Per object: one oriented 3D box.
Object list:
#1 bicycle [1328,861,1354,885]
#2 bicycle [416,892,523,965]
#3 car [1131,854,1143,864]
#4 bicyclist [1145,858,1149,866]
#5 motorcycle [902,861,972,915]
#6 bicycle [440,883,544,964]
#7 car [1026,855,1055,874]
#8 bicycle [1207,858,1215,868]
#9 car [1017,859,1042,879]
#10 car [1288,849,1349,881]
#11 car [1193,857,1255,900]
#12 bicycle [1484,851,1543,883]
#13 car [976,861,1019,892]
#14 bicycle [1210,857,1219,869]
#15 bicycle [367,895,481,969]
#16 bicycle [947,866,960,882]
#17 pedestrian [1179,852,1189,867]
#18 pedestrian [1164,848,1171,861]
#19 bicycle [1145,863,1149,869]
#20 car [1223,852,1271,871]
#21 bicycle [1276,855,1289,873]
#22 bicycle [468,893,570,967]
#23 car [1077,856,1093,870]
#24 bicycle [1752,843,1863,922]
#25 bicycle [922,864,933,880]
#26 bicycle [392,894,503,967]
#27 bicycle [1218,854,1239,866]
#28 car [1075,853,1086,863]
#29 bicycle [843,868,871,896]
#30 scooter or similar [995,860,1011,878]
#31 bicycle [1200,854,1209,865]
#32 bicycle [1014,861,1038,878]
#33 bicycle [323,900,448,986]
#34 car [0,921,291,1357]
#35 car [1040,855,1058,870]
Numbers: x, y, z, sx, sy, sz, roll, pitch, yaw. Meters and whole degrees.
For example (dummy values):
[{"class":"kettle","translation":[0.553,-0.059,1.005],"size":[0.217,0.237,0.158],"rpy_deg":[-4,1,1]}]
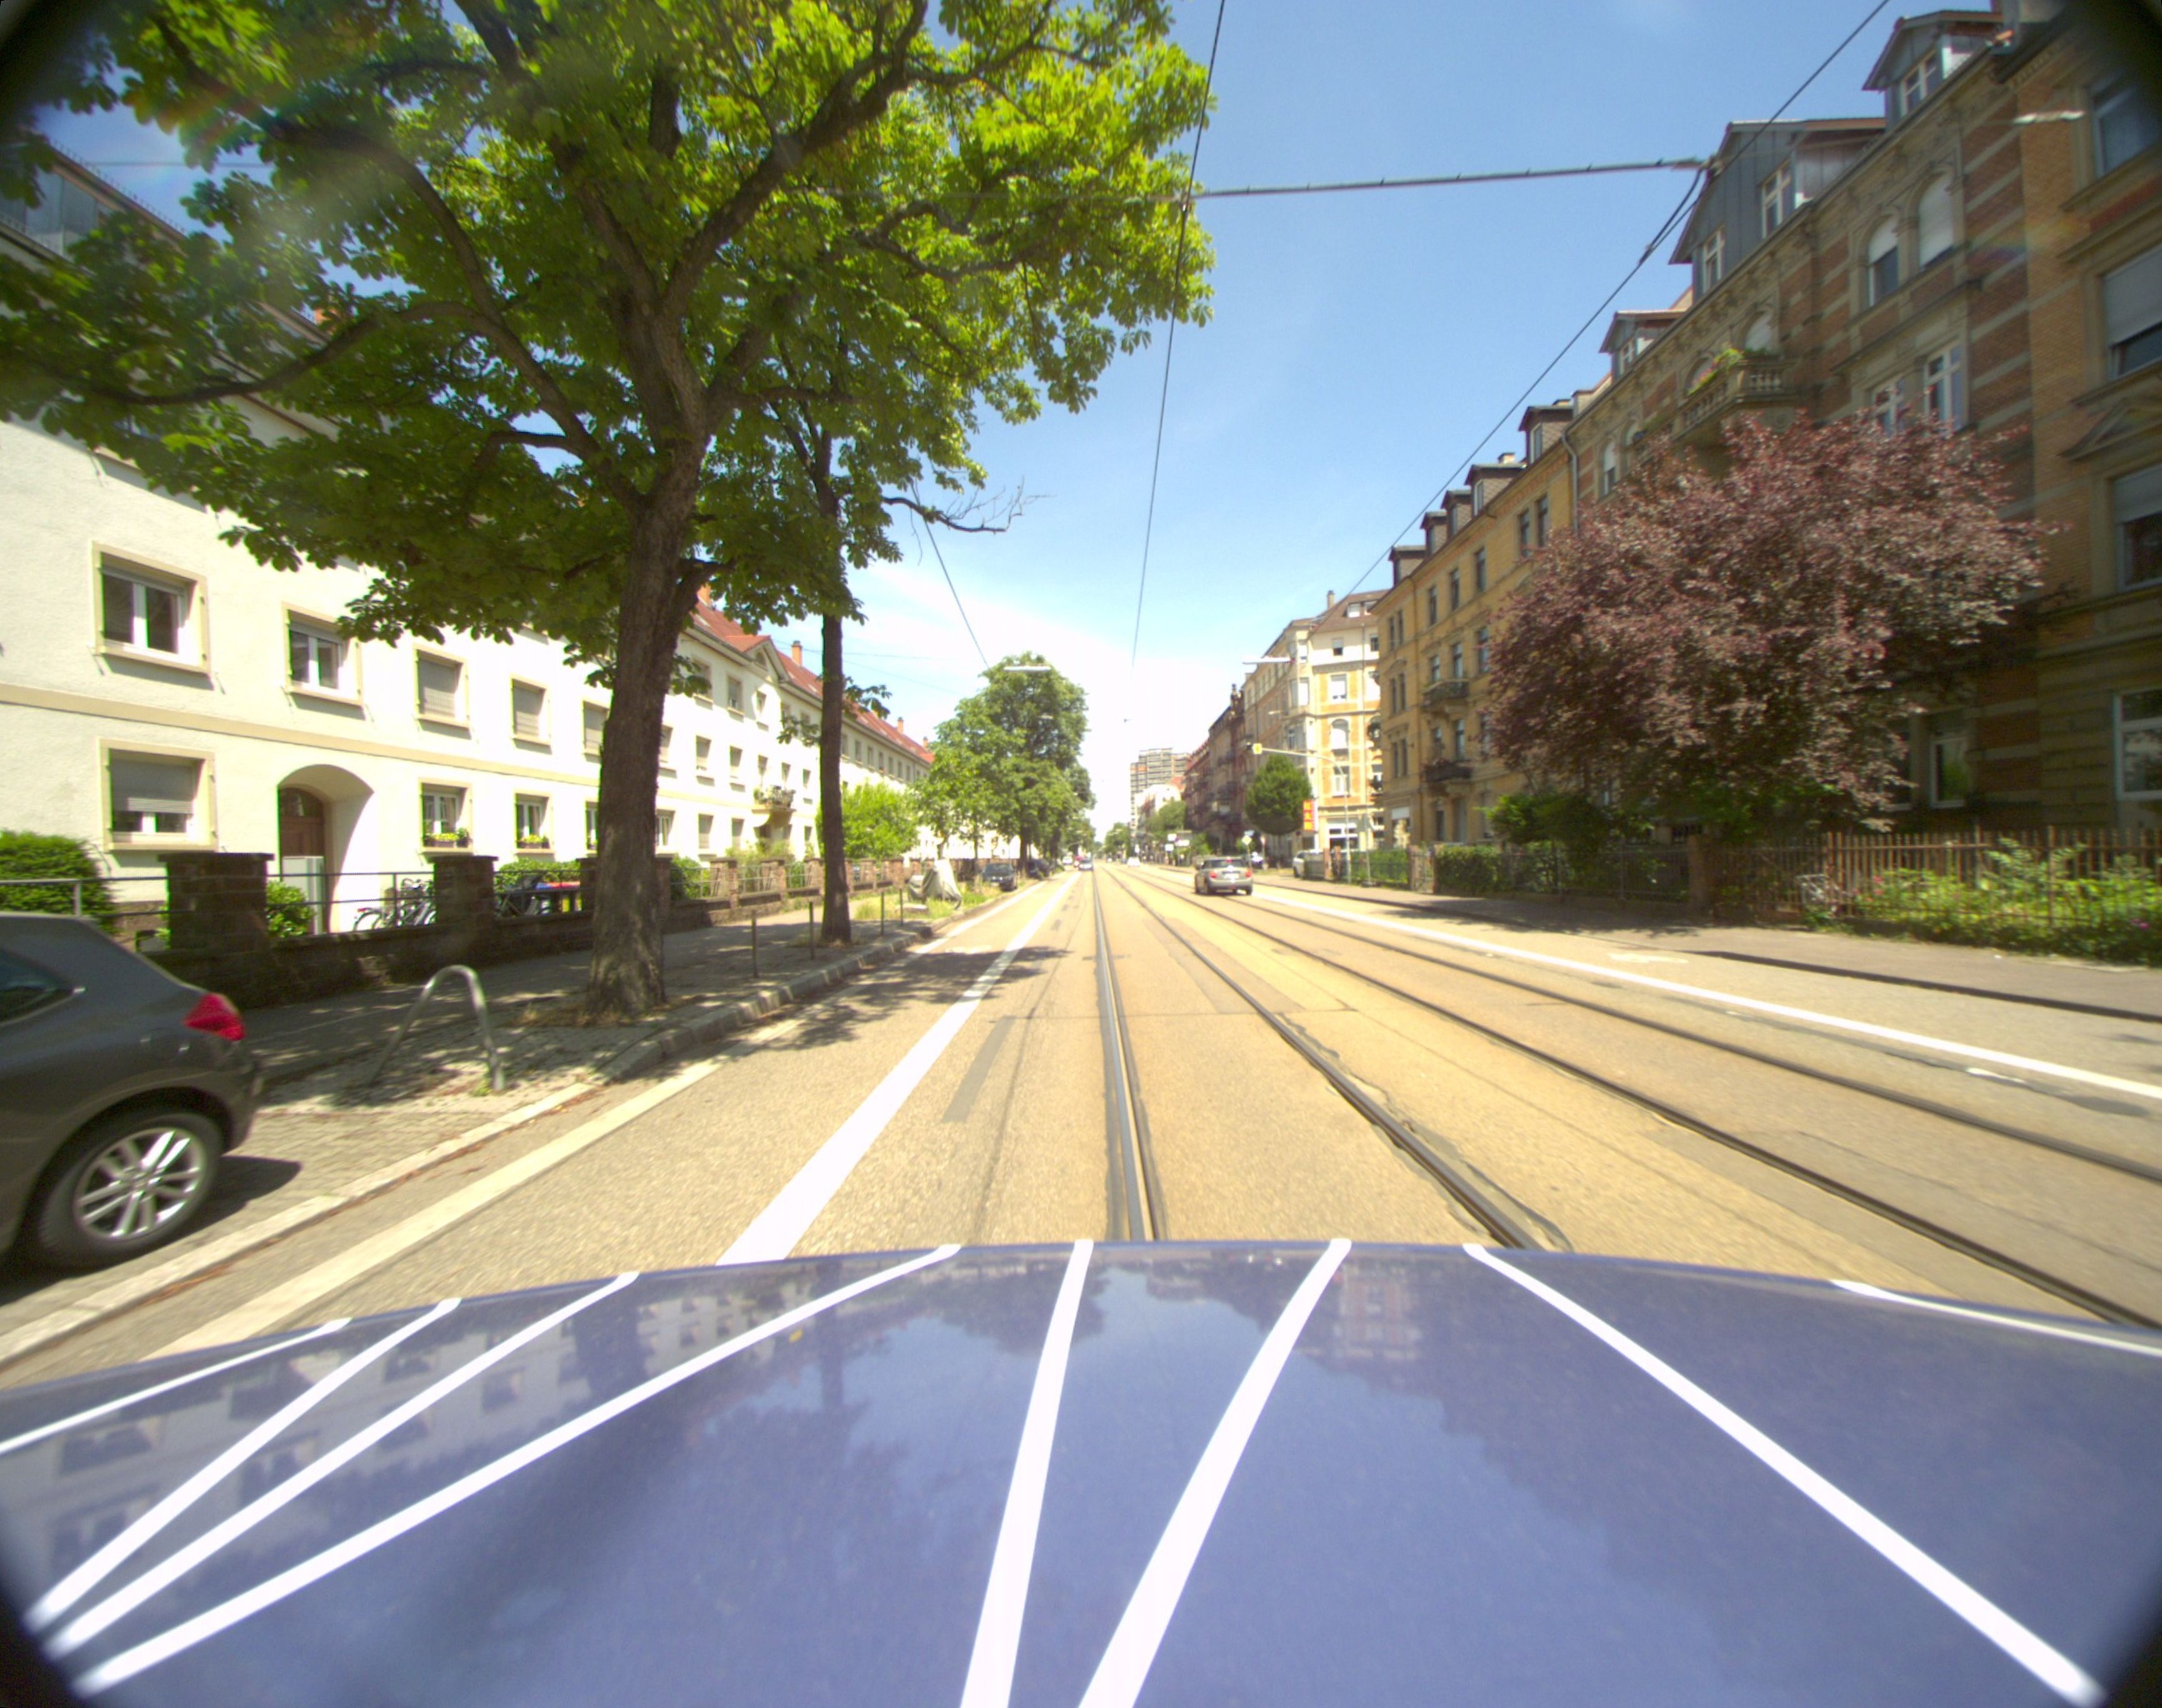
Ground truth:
[{"class":"bicycle","translation":[11.607,0.844,33.996],"size":[0.455,0.997,1.806],"rpy_deg":[-2,0,-3]},{"class":"bicycle","translation":[-10.077,1.202,12.584],"size":[0.460,1.050,1.564],"rpy_deg":[-1,0,1]},{"class":"car","translation":[8.765,0.793,119.420],"size":[1.760,1.416,4.000],"rpy_deg":[-1,0,1]},{"class":"bicyclist","translation":[12.457,1.446,143.478],"size":[0.594,1.535,0.952],"rpy_deg":[-1,0,0]},{"class":"motorcycle","translation":[-4.455,1.033,23.361],"size":[2.314,1.531,0.871],"rpy_deg":[-2,0,44]},{"class":"bicycle","translation":[-9.701,1.108,12.582],"size":[0.460,1.184,1.564],"rpy_deg":[-1,0,1]},{"class":"car","translation":[-3.589,0.918,68.100],"size":[1.952,1.641,4.881],"rpy_deg":[-2,0,4]},{"class":"bicycle","translation":[12.185,0.840,71.137],"size":[0.440,0.978,1.710],"rpy_deg":[-2,0,-1]},{"class":"car","translation":[-3.902,1.088,58.124],"size":[1.699,1.410,4.356],"rpy_deg":[-2,0,-2]},{"class":"car","translation":[13.366,0.583,43.026],"size":[1.871,1.591,4.100],"rpy_deg":[-4,0,-4]},{"class":"car","translation":[5.433,0.888,29.240],"size":[1.690,1.446,3.748],"rpy_deg":[-2,0,1]},{"class":"bicycle","translation":[14.858,0.433,26.114],"size":[1.806,0.997,0.455],"rpy_deg":[-2,1,-5]},{"class":"car","translation":[-4.219,1.125,38.950],"size":[1.774,1.418,4.861],"rpy_deg":[-2,0,-2]},{"class":"bicycle","translation":[12.139,0.816,69.095],"size":[0.440,0.978,1.710],"rpy_deg":[-2,0,-1]},{"class":"bicycle","translation":[-10.794,1.253,12.546],"size":[0.460,1.050,1.564],"rpy_deg":[-1,0,1]},{"class":"bicycle","translation":[-8.709,1.357,51.921],"size":[0.480,1.072,1.924],"rpy_deg":[-2,0,1]},{"class":"pedestrian","translation":[12.169,0.685,89.816],"size":[0.853,1.713,1.138],"rpy_deg":[-5,0,1]},{"class":"pedestrian","translation":[11.708,0.018,102.344],"size":[0.874,1.690,1.014],"rpy_deg":[-2,0,7]},{"class":"bicycle","translation":[12.462,2.195,143.481],"size":[0.582,1.072,1.890],"rpy_deg":[-1,0,1]},{"class":"car","translation":[14.311,0.669,65.676],"size":[3.769,1.420,1.713],"rpy_deg":[-3,1,1]},{"class":"bicycle","translation":[15.588,0.757,58.859],"size":[0.500,1.221,1.853],"rpy_deg":[-1,3,29]},{"class":"bicycle","translation":[-9.172,1.212,12.482],"size":[0.460,1.050,1.564],"rpy_deg":[-1,0,1]},{"class":"car","translation":[0.462,1.054,89.626],"size":[1.737,1.543,4.423],"rpy_deg":[-2,0,-1]},{"class":"bicycle","translation":[12.585,0.477,13.161],"size":[1.614,1.180,0.509],"rpy_deg":[-5,1,-12]},{"class":"bicycle","translation":[-10.478,1.221,51.990],"size":[0.480,1.072,1.923],"rpy_deg":[-2,0,-5]},{"class":"bicycle","translation":[-10.409,1.226,12.551],"size":[0.460,1.050,1.564],"rpy_deg":[-1,0,1]},{"class":"bicycle","translation":[13.145,0.510,67.685],"size":[1.709,1.031,0.551],"rpy_deg":[-2,0,5]},{"class":"car","translation":[-0.093,0.599,124.150],"size":[1.737,1.543,4.423],"rpy_deg":[-2,0,-1]},{"class":"bicycle","translation":[-9.372,1.150,31.813],"size":[0.500,1.096,1.807],"rpy_deg":[-2,0,3]},{"class":"scooter or similar","translation":[-5.445,1.049,53.114],"size":[0.379,1.206,1.250],"rpy_deg":[-2,1,31]},{"class":"bicycle","translation":[12.356,0.533,76.277],"size":[0.498,0.981,1.710],"rpy_deg":[-6,0,-1]},{"class":"bicycle","translation":[-3.864,1.084,53.550],"size":[1.658,1.072,0.606],"rpy_deg":[-2,0,-6]},{"class":"bicycle","translation":[-9.986,1.243,10.983],"size":[0.460,1.050,1.563],"rpy_deg":[-1,0,-6]},{"class":"car","translation":[-4.812,1.085,1.601],"size":[1.778,1.492,4.305],"rpy_deg":[-1,0,0]},{"class":"car","translation":[-3.283,0.867,79.018],"size":[1.737,1.543,4.453],"rpy_deg":[-2,0,-1]}]
